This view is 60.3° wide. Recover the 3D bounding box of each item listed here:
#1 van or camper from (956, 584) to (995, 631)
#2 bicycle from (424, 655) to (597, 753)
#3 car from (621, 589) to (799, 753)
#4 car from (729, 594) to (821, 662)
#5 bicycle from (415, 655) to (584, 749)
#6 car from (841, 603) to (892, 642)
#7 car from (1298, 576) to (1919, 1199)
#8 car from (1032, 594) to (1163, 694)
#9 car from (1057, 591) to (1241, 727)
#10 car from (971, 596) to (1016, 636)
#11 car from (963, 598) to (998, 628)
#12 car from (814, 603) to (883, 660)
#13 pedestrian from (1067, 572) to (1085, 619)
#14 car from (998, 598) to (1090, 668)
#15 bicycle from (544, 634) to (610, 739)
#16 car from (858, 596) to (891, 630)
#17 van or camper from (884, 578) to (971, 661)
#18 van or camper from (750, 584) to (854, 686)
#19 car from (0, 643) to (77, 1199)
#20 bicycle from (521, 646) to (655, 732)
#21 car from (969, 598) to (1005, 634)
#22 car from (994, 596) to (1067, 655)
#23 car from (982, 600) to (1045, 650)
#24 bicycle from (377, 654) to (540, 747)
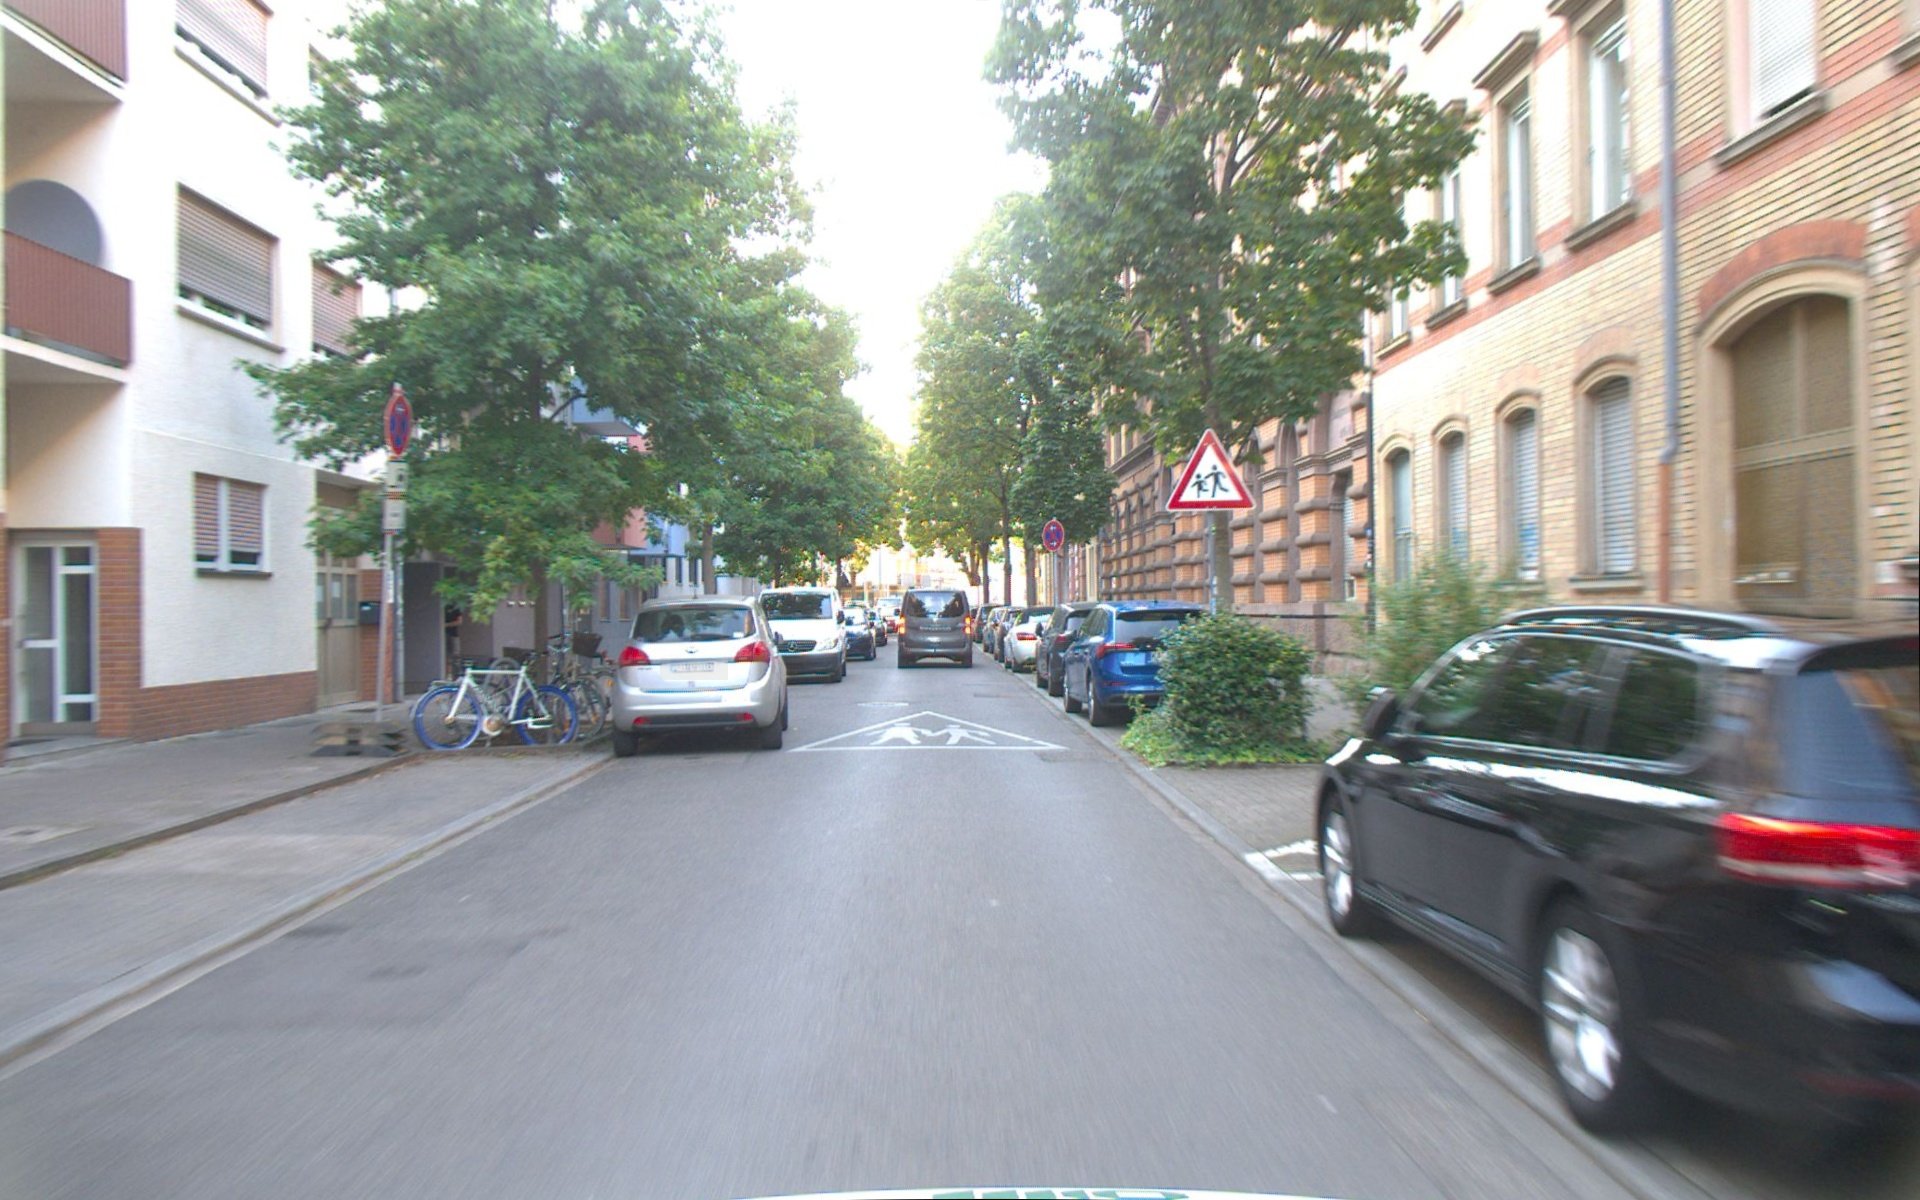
[{"bbox_3d":[0.871,0.439,96.927,1.954,2.644,5.421,-1,0,-2],"label":"van or camper"},{"bbox_3d":[-4.632,1.056,17.090,1.682,0.923,0.379,-1,0,-31],"label":"bicycle"},{"bbox_3d":[-2.712,0.714,18.672,1.630,1.590,3.996,-2,0,-4],"label":"car"},{"bbox_3d":[-4.792,0.702,43.393,1.953,1.675,4.920,0,0,-1],"label":"car"},{"bbox_3d":[-4.856,1.060,17.487,1.682,0.914,0.379,-1,0,-31],"label":"bicycle"},{"bbox_3d":[-3.709,0.889,66.322,1.809,1.477,4.501,-1,0,-1],"label":"car"},{"bbox_3d":[2.589,0.688,5.886,1.731,1.439,4.473,-3,0,-1],"label":"car"},{"bbox_3d":[2.219,0.682,27.684,1.677,1.503,4.191,-1,0,-2],"label":"car"},{"bbox_3d":[2.273,0.667,20.921,1.595,1.492,4.243,-2,0,-3],"label":"car"},{"bbox_3d":[1.365,0.646,68.927,1.579,1.586,3.764,-2,0,-3],"label":"car"},{"bbox_3d":[1.040,0.656,85.949,1.714,1.497,3.775,-1,0,-1],"label":"car"},{"bbox_3d":[-3.188,0.888,48.064,1.793,1.544,4.514,-1,0,-2],"label":"car"},{"bbox_3d":[4.196,-0.156,59.836,0.614,1.677,0.531,-1,0,-1],"label":"pedestrian"},{"bbox_3d":[1.853,0.713,37.687,1.659,1.426,4.644,-2,0,-2],"label":"car"},{"bbox_3d":[-4.392,0.970,19.041,0.411,1.123,1.664,-1,0,-2],"label":"bicycle"},{"bbox_3d":[-4.337,0.630,84.132,1.597,1.455,3.542,-2,3,-2],"label":"car"},{"bbox_3d":[-0.761,0.473,41.615,1.993,1.931,4.271,-1,0,1],"label":"van or camper"},{"bbox_3d":[-3.165,0.655,33.925,1.839,1.875,4.750,-2,0,-3],"label":"van or camper"},{"bbox_3d":[-2.611,0.837,1.607,1.548,1.445,3.752,-2,0,-2],"label":"car"},{"bbox_3d":[-4.648,1.097,20.626,1.694,1.012,0.575,-2,0,33],"label":"bicycle"},{"bbox_3d":[1.227,0.707,73.224,1.519,1.523,3.611,-1,0,2],"label":"car"},{"bbox_3d":[1.872,0.679,45.026,1.687,1.475,4.213,-2,0,-1],"label":"car"},{"bbox_3d":[1.732,0.793,54.931,1.664,1.508,3.997,-3,0,-3],"label":"car"},{"bbox_3d":[-5.395,1.065,17.843,1.643,0.914,0.379,-1,0,-31],"label":"bicycle"}]
